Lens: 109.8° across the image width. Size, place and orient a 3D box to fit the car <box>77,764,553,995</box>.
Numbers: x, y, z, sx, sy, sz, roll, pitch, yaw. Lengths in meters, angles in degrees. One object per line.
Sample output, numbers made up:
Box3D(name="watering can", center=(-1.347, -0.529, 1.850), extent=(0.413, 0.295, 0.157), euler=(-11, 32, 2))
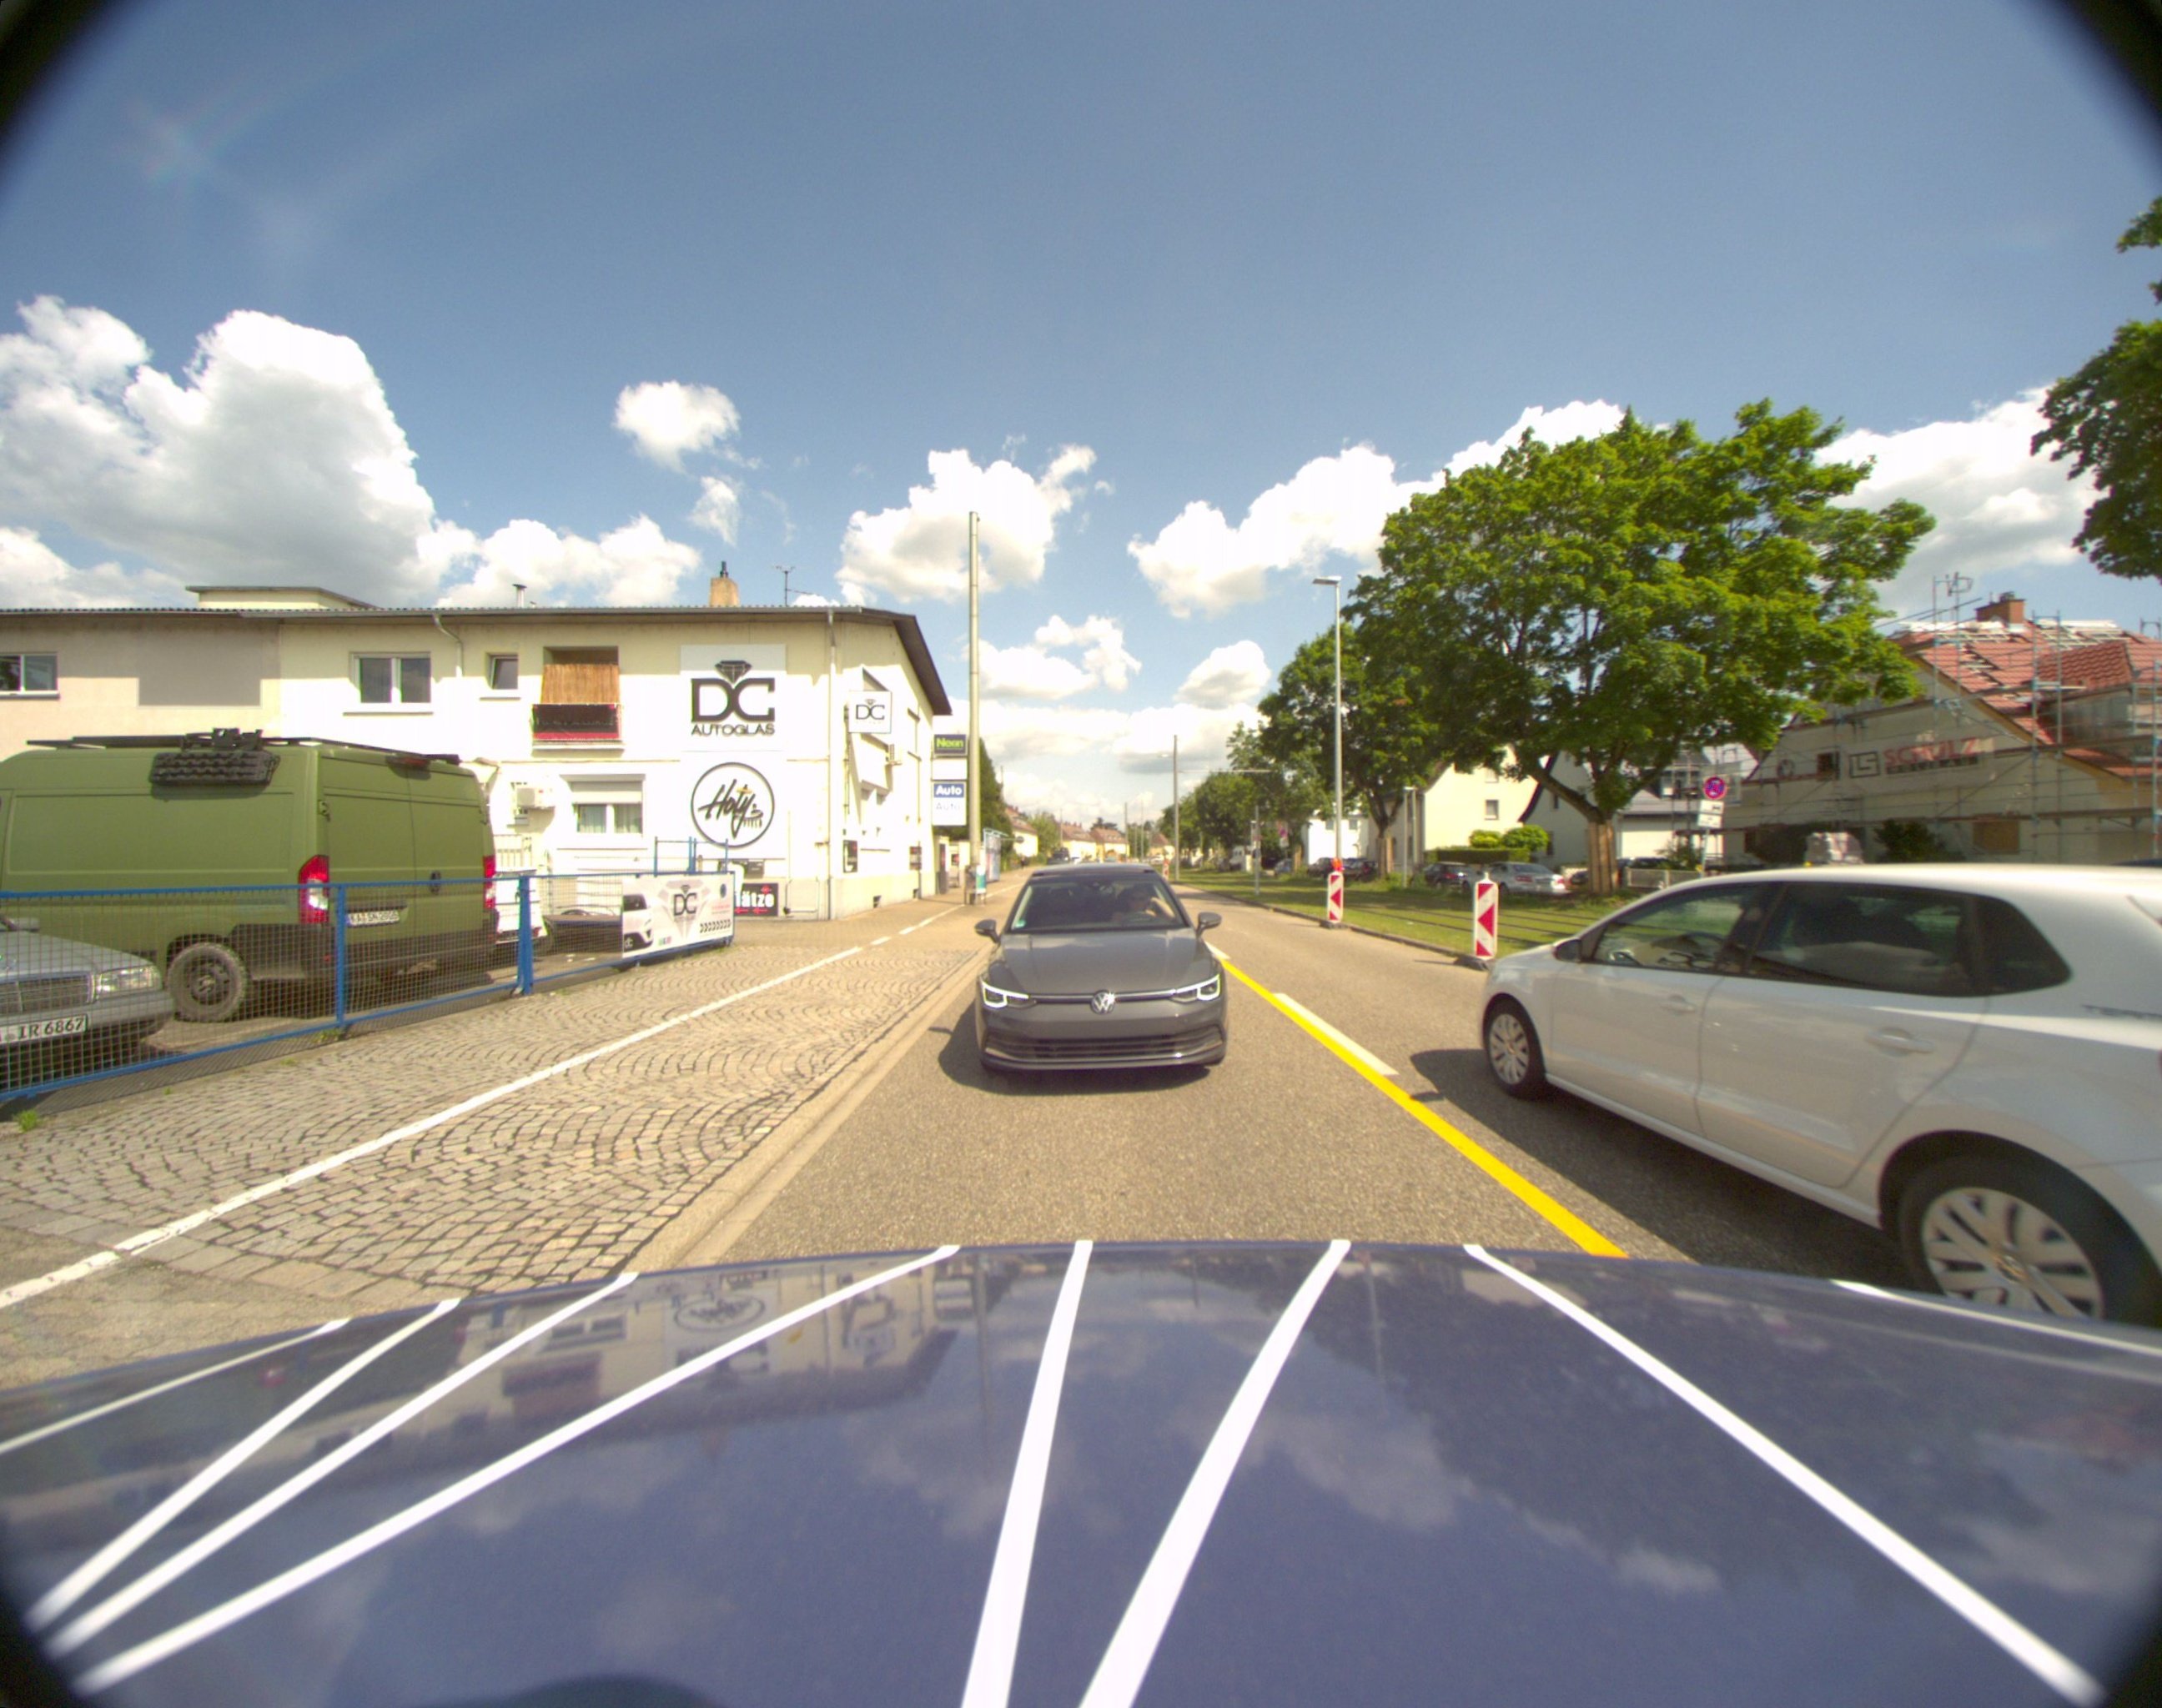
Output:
Box3D(name="car", center=(-9.454, 0.301, 9.654), extent=(4.209, 2.653, 1.803), euler=(0, 0, 0))

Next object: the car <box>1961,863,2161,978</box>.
Box3D(name="car", center=(16.247, 0.959, 11.235), extent=(1.755, 1.602, 4.050), euler=(0, 0, 0))

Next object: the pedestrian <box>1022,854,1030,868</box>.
Box3D(name="pedestrian", center=(-6.308, 0.759, 87.474), extent=(0.816, 1.577, 0.918), euler=(0, 0, 1))

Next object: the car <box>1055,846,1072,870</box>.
Box3D(name="car", center=(-1.918, 0.411, 82.851), extent=(1.720, 2.526, 5.794), euler=(0, 0, 0))

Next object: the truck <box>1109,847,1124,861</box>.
Box3D(name="truck", center=(9.403, 0.022, 201.137), extent=(2.590, 3.431, 8.585), euler=(0, 0, 11))

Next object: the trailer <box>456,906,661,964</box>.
Box3D(name="trailer", center=(-8.061, 1.238, 11.838), extent=(2.329, 0.762, 1.269), euler=(0, 0, 2))

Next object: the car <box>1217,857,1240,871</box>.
Box3D(name="car", center=(16.932, 1.153, 87.273), extent=(1.755, 1.602, 4.606), euler=(0, 0, 0))

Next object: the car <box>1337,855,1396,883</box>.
Box3D(name="car", center=(16.901, 0.851, 45.270), extent=(1.755, 1.602, 4.606), euler=(0, 0, 0))

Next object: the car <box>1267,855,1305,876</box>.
Box3D(name="car", center=(16.495, 0.917, 61.359), extent=(1.755, 1.602, 4.606), euler=(0, 0, 0))

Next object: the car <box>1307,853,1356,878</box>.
Box3D(name="car", center=(16.679, 0.764, 50.910), extent=(1.755, 1.602, 4.606), euler=(0, 0, 0))

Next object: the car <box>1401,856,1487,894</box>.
Box3D(name="car", center=(16.590, 0.917, 35.032), extent=(1.755, 1.602, 4.606), euler=(0, 0, 0))

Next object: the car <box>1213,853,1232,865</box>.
Box3D(name="car", center=(19.958, 0.733, 107.175), extent=(1.755, 1.602, 4.606), euler=(0, 0, 0))

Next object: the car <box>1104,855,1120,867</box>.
Box3D(name="car", center=(3.746, 0.888, 92.642), extent=(1.755, 1.405, 4.261), euler=(0, 0, 0))

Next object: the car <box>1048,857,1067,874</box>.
Box3D(name="car", center=(-2.160, 1.066, 70.989), extent=(1.720, 1.470, 4.009), euler=(0, 0, 0))

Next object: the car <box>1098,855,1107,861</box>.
Box3D(name="car", center=(5.176, 0.997, 179.088), extent=(1.718, 1.470, 4.011), euler=(0, 0, 8))

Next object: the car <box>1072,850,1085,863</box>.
Box3D(name="car", center=(-0.430, 0.399, 136.325), extent=(1.719, 2.360, 5.211), euler=(0, 0, 5))

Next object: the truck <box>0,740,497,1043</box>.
Box3D(name="truck", center=(-8.622, 0.328, 7.568), extent=(3.997, 2.592, 2.069), euler=(0, 0, 1))

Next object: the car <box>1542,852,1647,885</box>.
Box3D(name="car", center=(25.512, 0.722, 37.835), extent=(4.047, 1.602, 1.757), euler=(0, 0, 1))

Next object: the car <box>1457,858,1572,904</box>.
Box3D(name="car", center=(16.389, 0.966, 29.009), extent=(1.755, 1.602, 4.606), euler=(0, 0, 0))

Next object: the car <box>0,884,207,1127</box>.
Box3D(name="car", center=(-8.435, 0.918, 4.812), extent=(4.206, 1.388, 1.804), euler=(0, 0, 8))

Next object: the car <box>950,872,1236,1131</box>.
Box3D(name="car", center=(0.101, 0.938, 6.584), extent=(1.719, 1.470, 4.009), euler=(0, 0, 1))

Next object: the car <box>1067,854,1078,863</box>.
Box3D(name="car", center=(-1.366, 0.738, 122.961), extent=(1.720, 1.470, 4.009), euler=(0, 0, 0))

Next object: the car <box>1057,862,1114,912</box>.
Box3D(name="car", center=(0.164, 1.013, 25.051), extent=(1.719, 1.470, 4.009), euler=(0, 0, 1))

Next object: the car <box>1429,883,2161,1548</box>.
Box3D(name="car", center=(3.402, 0.915, 3.464), extent=(1.719, 1.405, 4.262), euler=(0, 0, 1))

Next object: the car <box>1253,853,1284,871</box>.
Box3D(name="car", center=(17.584, 0.756, 71.498), extent=(1.755, 1.602, 4.606), euler=(0, 0, 0))

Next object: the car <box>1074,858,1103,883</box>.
Box3D(name="car", center=(0.488, 1.009, 48.077), extent=(1.787, 1.470, 4.009), euler=(0, 0, 1))

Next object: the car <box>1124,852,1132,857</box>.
Box3D(name="car", center=(13.529, 0.235, 218.480), extent=(1.718, 1.470, 4.013), euler=(0, 0, 13))

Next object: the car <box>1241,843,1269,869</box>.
Box3D(name="car", center=(17.645, 0.198, 77.053), extent=(1.755, 2.601, 4.606), euler=(0, 0, 0))

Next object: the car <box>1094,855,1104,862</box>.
Box3D(name="car", center=(4.103, 0.995, 172.738), extent=(1.718, 1.470, 4.011), euler=(0, 0, 8))
